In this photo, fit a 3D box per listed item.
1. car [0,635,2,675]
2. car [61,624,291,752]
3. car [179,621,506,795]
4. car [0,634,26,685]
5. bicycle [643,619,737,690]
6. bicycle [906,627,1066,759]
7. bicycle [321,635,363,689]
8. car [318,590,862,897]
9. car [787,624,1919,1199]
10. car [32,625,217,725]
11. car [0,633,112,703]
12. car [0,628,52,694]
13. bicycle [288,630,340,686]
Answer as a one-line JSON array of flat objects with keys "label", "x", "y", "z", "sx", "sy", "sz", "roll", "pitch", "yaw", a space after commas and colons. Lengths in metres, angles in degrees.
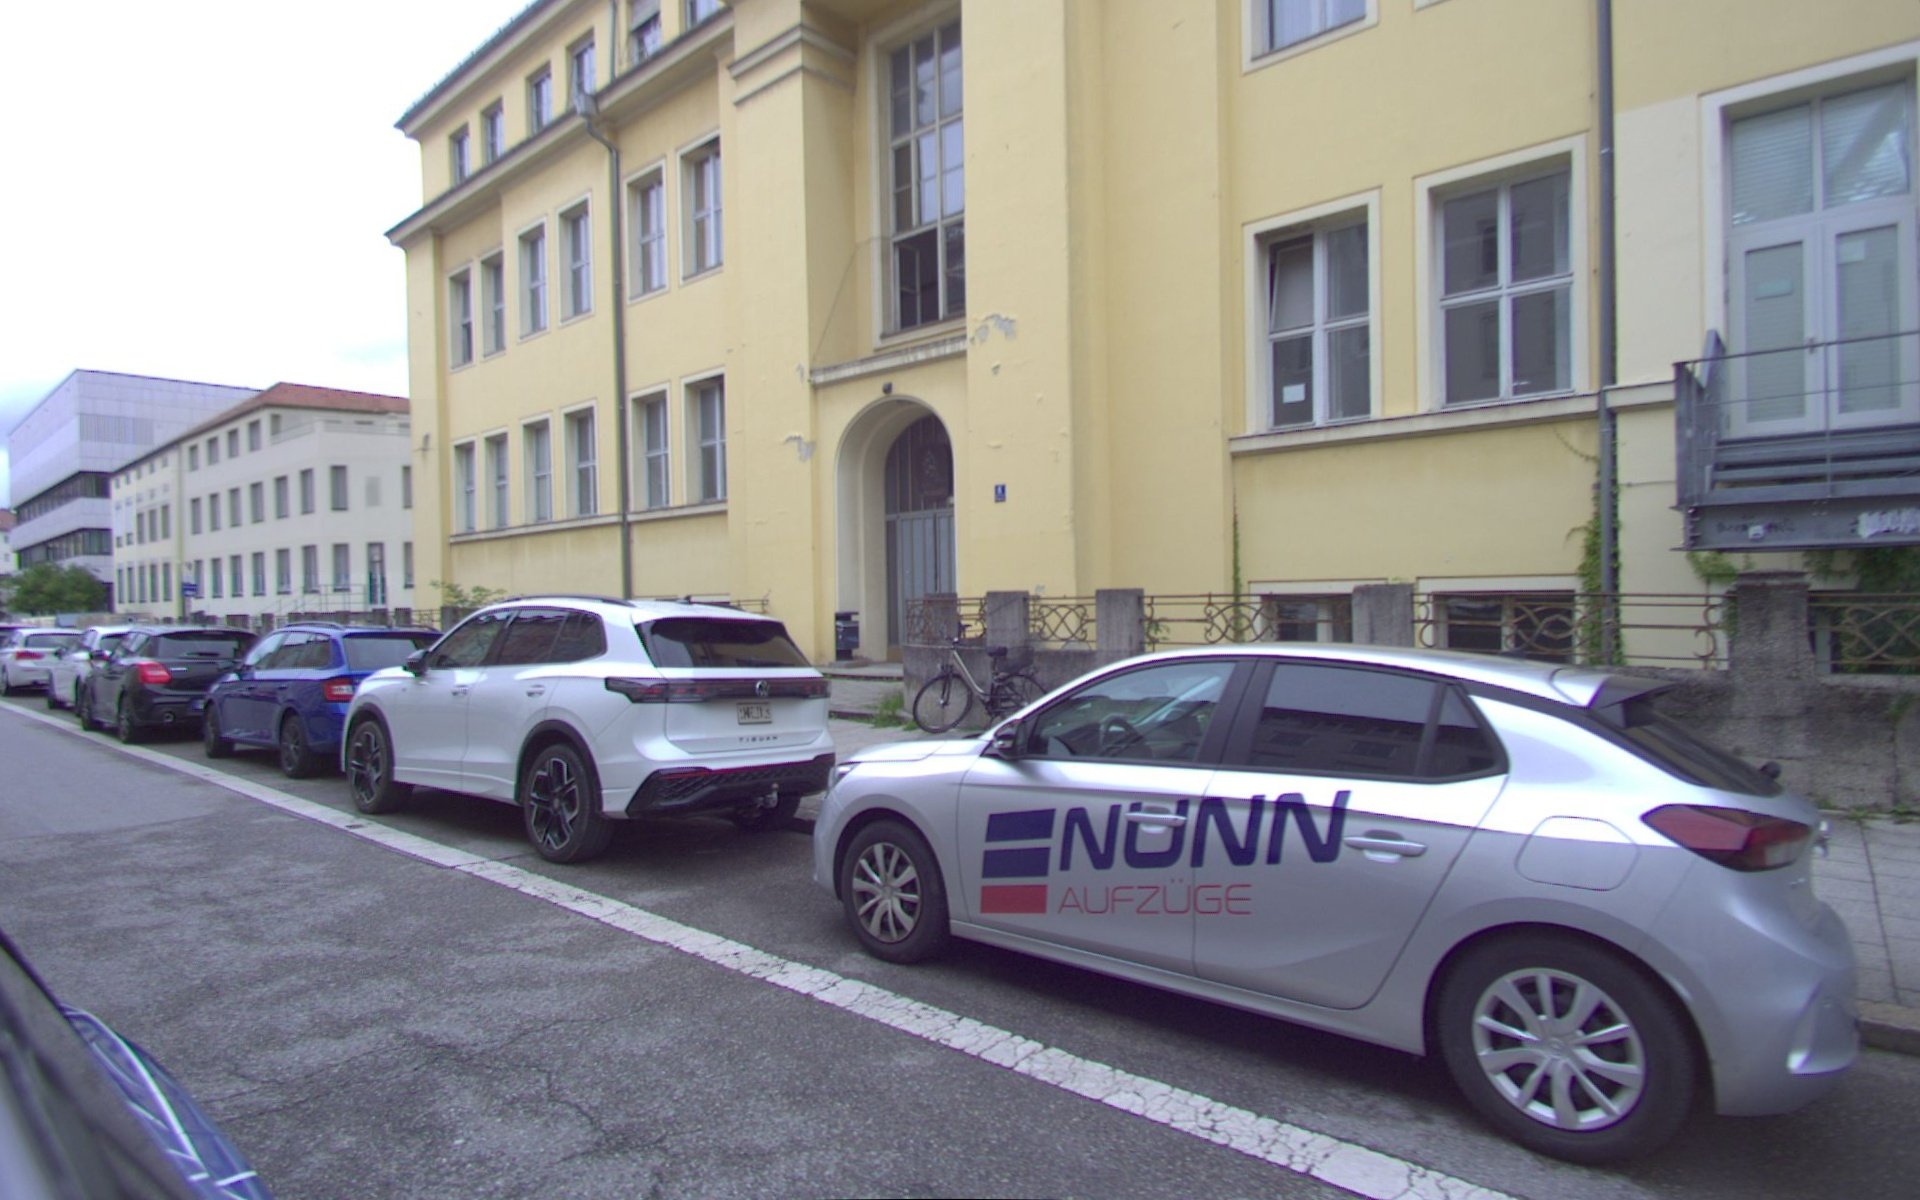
[{"label": "car", "x": -32.283, "y": 1.801, "z": 32.378, "sx": 4.122, "sy": 1.416, "sz": 1.776, "roll": -2, "pitch": -4, "yaw": 38}, {"label": "car", "x": -10.820, "y": 1.112, "z": 13.873, "sx": 3.982, "sy": 1.507, "sz": 1.663, "roll": -2, "pitch": -3, "yaw": 40}, {"label": "car", "x": -6.666, "y": 1.023, "z": 10.779, "sx": 3.968, "sy": 1.516, "sz": 1.664, "roll": -2, "pitch": -3, "yaw": 38}, {"label": "car", "x": -28.367, "y": 1.679, "z": 28.932, "sx": 3.983, "sy": 1.416, "sz": 1.659, "roll": -1, "pitch": -3, "yaw": 36}, {"label": "bicycle", "x": -4.533, "y": 0.901, "z": 17.052, "sx": 0.438, "sy": 1.059, "sz": 1.541, "roll": -1, "pitch": 1, "yaw": 39}, {"label": "bicycle", "x": 0.242, "y": 0.890, "z": 10.193, "sx": 1.561, "sy": 1.198, "sz": 0.571, "roll": -1, "pitch": 2, "yaw": 41}, {"label": "bicycle", "x": -13.542, "y": 1.327, "z": 22.161, "sx": 0.578, "sy": 1.085, "sz": 1.721, "roll": -3, "pitch": 1, "yaw": -37}, {"label": "car", "x": -2.889, "y": 0.849, "z": 7.446, "sx": 4.350, "sy": 1.646, "sz": 1.664, "roll": -1, "pitch": -4, "yaw": 38}, {"label": "car", "x": 1.245, "y": 0.861, "z": 4.077, "sx": 3.891, "sy": 1.437, "sz": 1.663, "roll": -1, "pitch": -5, "yaw": 40}, {"label": "car", "x": -14.549, "y": 1.243, "z": 17.555, "sx": 4.084, "sy": 1.539, "sz": 1.705, "roll": -2, "pitch": -4, "yaw": 40}, {"label": "car", "x": -20.322, "y": 1.448, "z": 22.312, "sx": 3.991, "sy": 1.409, "sz": 1.658, "roll": -2, "pitch": -4, "yaw": 38}, {"label": "car", "x": -24.691, "y": 1.515, "z": 25.749, "sx": 3.991, "sy": 1.578, "sz": 1.658, "roll": -2, "pitch": -4, "yaw": 38}, {"label": "bicycle", "x": -14.936, "y": 1.317, "z": 23.374, "sx": 1.717, "sy": 1.206, "sz": 0.579, "roll": -2, "pitch": 1, "yaw": 44}]
